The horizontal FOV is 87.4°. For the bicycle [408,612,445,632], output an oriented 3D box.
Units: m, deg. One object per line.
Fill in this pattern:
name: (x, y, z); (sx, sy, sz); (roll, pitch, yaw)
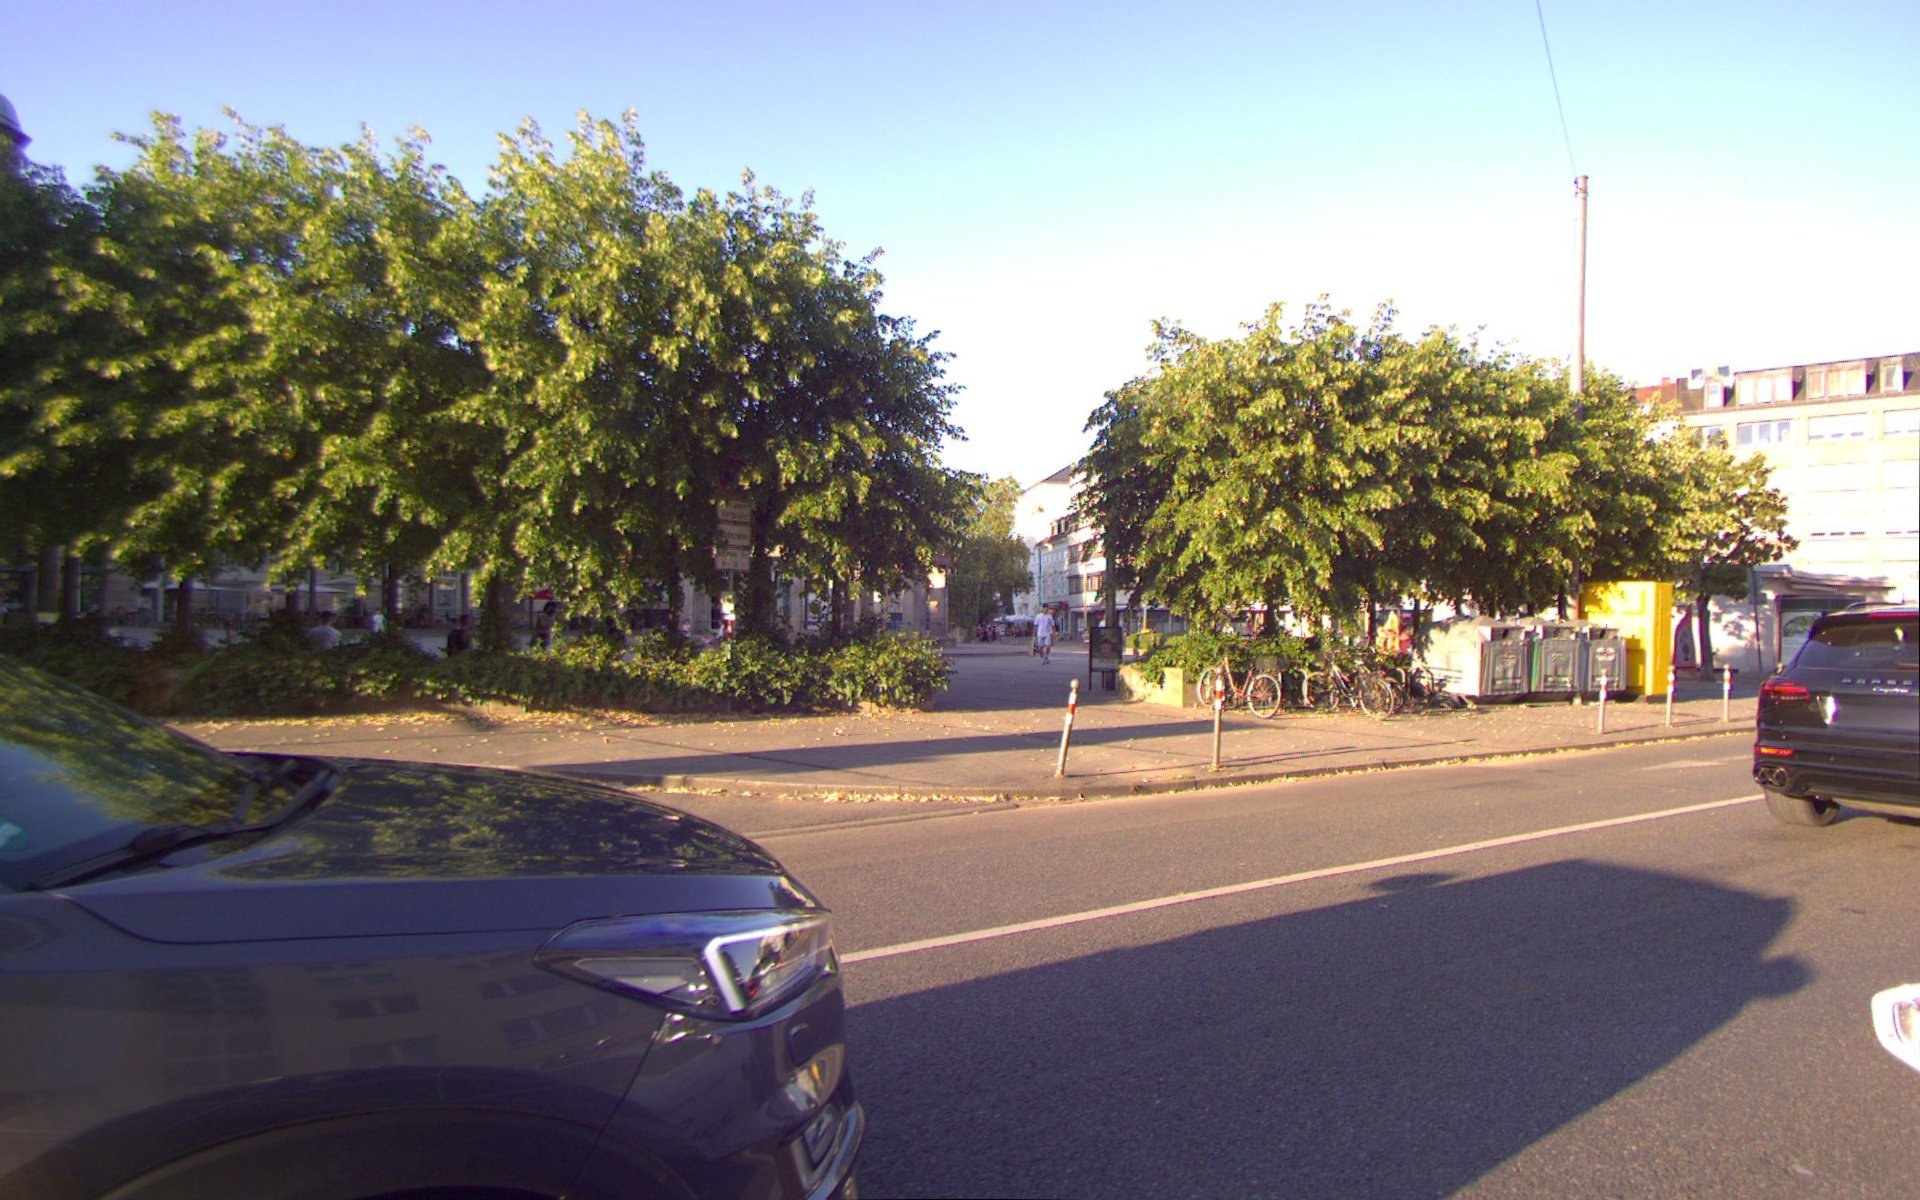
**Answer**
bicycle: (-33.704, 1.400, 63.462); (0.571, 1.277, 2.023); (2, 0, 36)

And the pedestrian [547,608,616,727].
pedestrian: (-6.757, 1.169, 17.942); (0.850, 2.040, 0.895); (1, -1, -43)

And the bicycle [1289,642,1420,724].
bicycle: (6.366, 1.311, 16.327); (0.543, 1.150, 2.013); (1, 0, -33)

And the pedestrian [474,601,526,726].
pedestrian: (-7.738, 1.051, 16.898); (0.730, 2.040, 0.759); (1, 0, -28)

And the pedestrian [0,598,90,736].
pedestrian: (-14.064, 1.003, 15.354); (0.725, 2.040, 0.906); (1, 0, -3)

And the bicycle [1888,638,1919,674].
bicycle: (34.886, 2.048, 36.325); (0.625, 1.273, 1.846); (1, -1, -28)

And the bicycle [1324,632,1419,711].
bicycle: (7.227, 1.228, 17.710); (0.440, 1.269, 1.578); (1, 0, -31)

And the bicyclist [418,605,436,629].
bicyclist: (-33.703, 1.062, 63.496); (0.630, 1.467, 0.768); (2, 0, 36)

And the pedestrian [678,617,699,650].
pedestrian: (-8.954, 1.101, 33.152); (0.575, 1.077, 0.462); (0, 1, -1)

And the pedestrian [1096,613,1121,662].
pedestrian: (5.188, 1.297, 35.060); (0.824, 1.642, 0.705); (2, 0, 8)

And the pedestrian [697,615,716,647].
pedestrian: (-8.676, 1.067, 34.395); (0.519, 1.077, 0.462); (0, 1, -1)

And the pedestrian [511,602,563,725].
pedestrian: (-7.299, 1.068, 17.317); (0.730, 2.040, 0.872); (1, 0, -28)

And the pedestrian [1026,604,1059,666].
pedestrian: (2.409, 1.019, 29.422); (0.878, 1.748, 0.736); (2, 0, 7)

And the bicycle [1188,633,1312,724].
bicycle: (4.597, 1.211, 16.068); (0.543, 1.269, 2.013); (1, 0, -33)

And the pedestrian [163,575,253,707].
pedestrian: (-11.975, 0.643, 16.016); (0.725, 2.040, 0.906); (1, 0, -3)

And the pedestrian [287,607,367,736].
pedestrian: (-10.351, 1.143, 16.464); (0.725, 2.040, 0.906); (1, 0, -3)

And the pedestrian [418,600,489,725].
pedestrian: (-8.465, 1.025, 16.825); (0.725, 2.040, 0.906); (1, 0, -3)

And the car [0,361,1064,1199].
car: (-2.171, 0.626, 1.296); (4.400, 1.712, 1.863); (1, -2, -32)

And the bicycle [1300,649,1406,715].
bicycle: (6.743, 1.383, 17.308); (0.543, 0.992, 1.663); (1, 0, -33)

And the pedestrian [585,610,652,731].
pedestrian: (-5.913, 1.193, 17.436); (0.840, 2.040, 0.906); (1, 0, -3)

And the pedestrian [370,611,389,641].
pedestrian: (-21.209, 0.934, 36.694); (0.525, 1.077, 0.457); (-1, 2, -36)

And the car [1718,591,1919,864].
car: (7.985, 0.858, 7.681); (4.508, 1.737, 1.939); (1, -2, -31)
